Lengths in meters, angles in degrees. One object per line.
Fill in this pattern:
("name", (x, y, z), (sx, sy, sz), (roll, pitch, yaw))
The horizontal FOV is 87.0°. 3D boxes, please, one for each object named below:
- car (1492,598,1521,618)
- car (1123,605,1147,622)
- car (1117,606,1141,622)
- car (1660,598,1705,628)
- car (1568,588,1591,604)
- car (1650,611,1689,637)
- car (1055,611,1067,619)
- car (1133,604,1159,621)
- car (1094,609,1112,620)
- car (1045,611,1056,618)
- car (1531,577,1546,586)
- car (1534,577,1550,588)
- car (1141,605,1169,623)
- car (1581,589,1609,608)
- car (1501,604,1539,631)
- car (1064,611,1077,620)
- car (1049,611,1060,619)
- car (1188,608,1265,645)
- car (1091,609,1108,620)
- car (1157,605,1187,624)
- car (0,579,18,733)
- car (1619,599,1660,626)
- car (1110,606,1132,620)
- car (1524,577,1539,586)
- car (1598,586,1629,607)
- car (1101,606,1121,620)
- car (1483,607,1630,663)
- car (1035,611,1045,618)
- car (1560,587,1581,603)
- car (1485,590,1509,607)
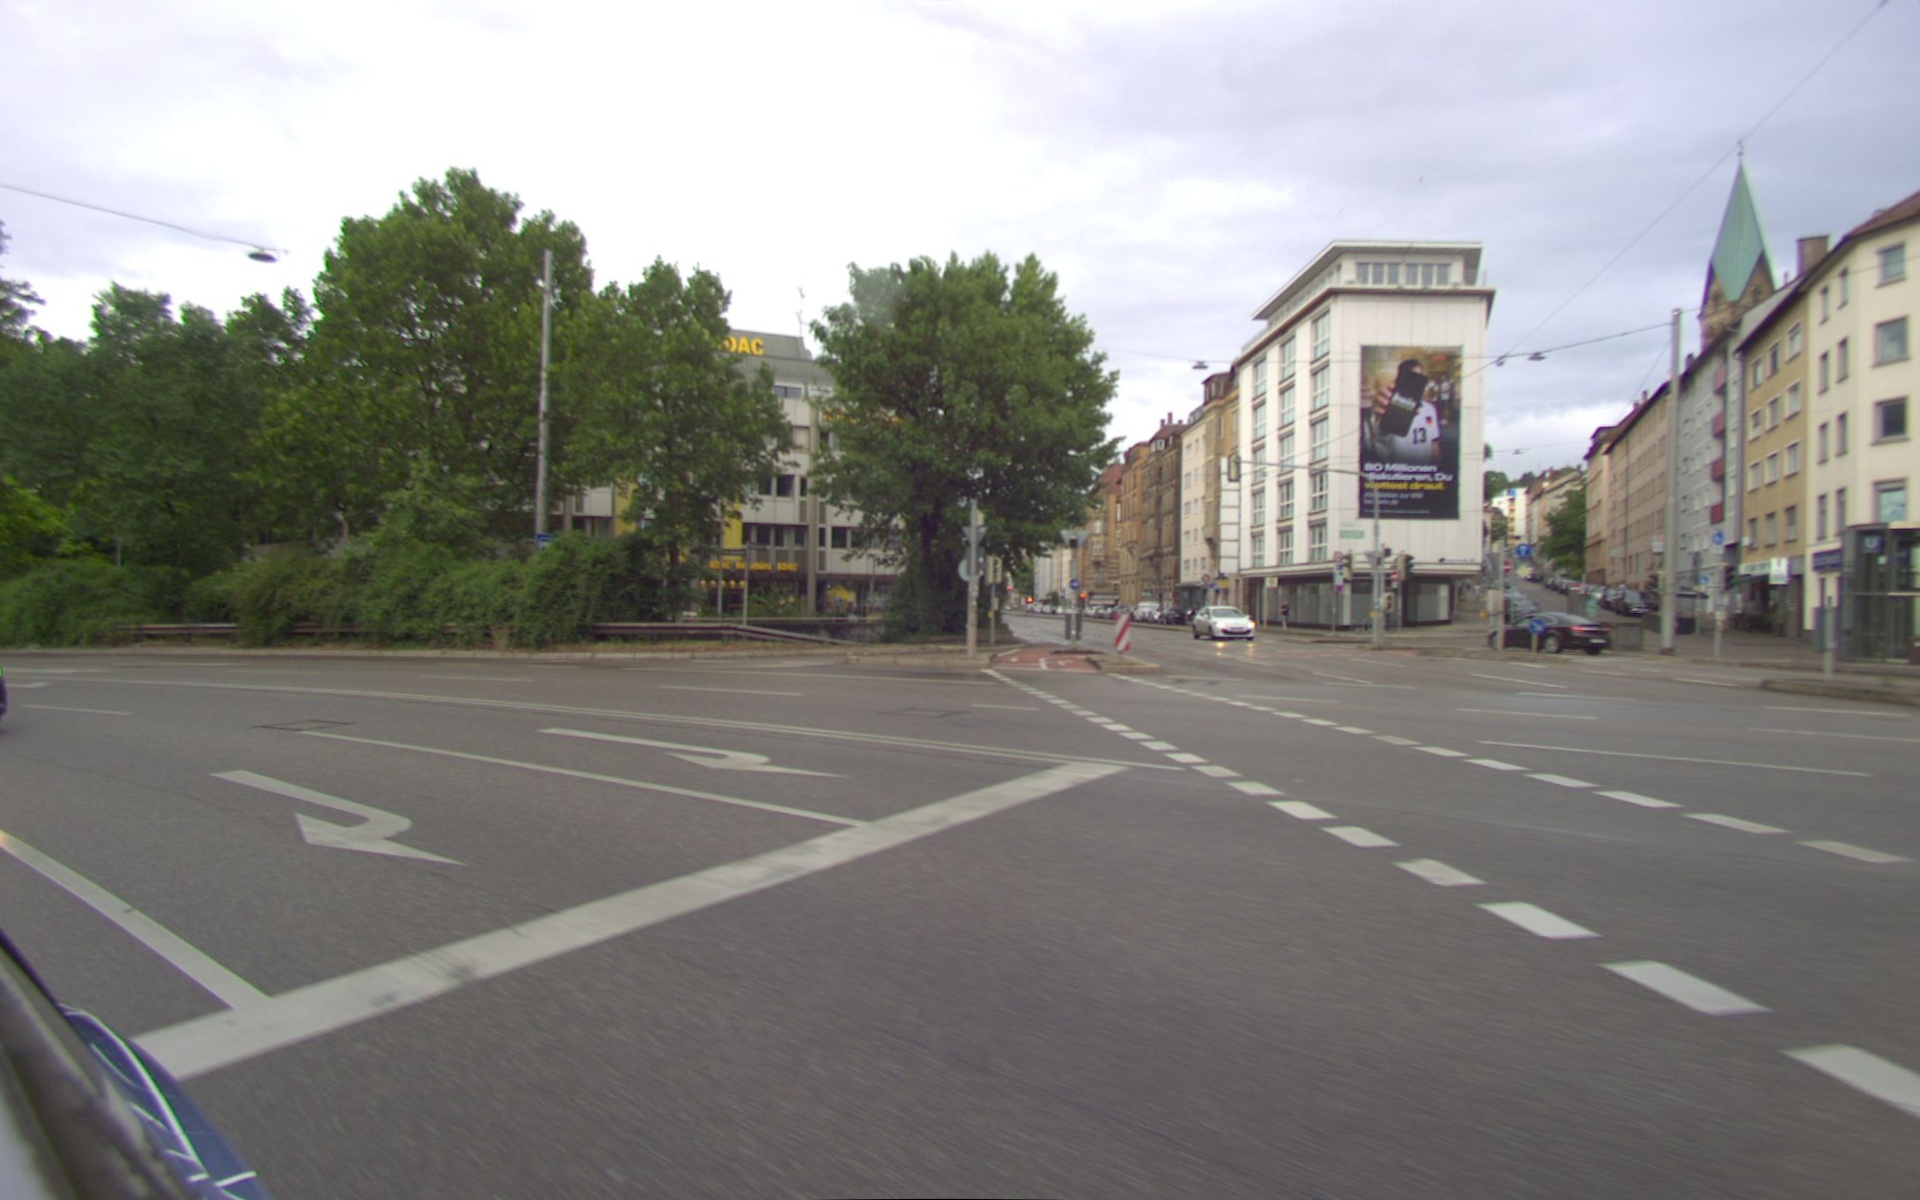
("car", (45.822, 0.699, 84.814), (1.912, 1.603, 3.957), (1, -1, 31))
("car", (17.875, 1.368, 103.531), (1.850, 1.589, 3.998), (1, -1, 1))
("car", (18.021, 1.469, 108.117), (1.850, 1.589, 3.998), (1, -1, 1))
("car", (40.840, 0.742, 57.251), (1.754, 1.603, 3.757), (1, -1, 31))
("car", (62.912, -0.450, 102.797), (1.912, 1.602, 3.958), (1, 1, 31))
("car", (36.554, 1.237, 52.204), (1.400, 1.239, 3.130), (1, -1, 31))
("car", (16.931, 2.563, 170.190), (1.757, 1.331, 3.675), (1, -1, 2))
("car", (17.995, 1.240, 98.227), (1.850, 1.589, 3.998), (1, -1, 1))
("car", (17.902, 1.791, 126.876), (1.757, 1.331, 3.675), (1, -1, 2))
("car", (16.489, 2.664, 185.243), (1.757, 1.331, 3.675), (1, -1, 2))
("car", (97.913, -3.138, 171.284), (1.908, 1.602, 3.965), (1, 1, 26))
("car", (92.666, -2.797, 161.064), (1.908, 1.602, 3.965), (1, 1, 26))
("car", (18.030, 1.271, 93.490), (1.850, 1.589, 3.998), (1, -1, 1))
("car", (54.293, -0.147, 86.528), (1.912, 1.602, 3.958), (1, 1, 31))
("car", (34.647, 1.071, 62.578), (1.912, 1.603, 3.957), (1, -1, 31))
("car", (17.302, 2.430, 159.123), (1.757, 1.331, 3.675), (1, -1, 2))
("car", (16.745, 2.615, 178.922), (1.757, 1.331, 3.675), (1, -1, 2))
("car", (11.213, 1.076, 42.879), (1.972, 1.462, 4.230), (1, -1, -2))
("car", (18.095, 1.840, 131.689), (1.757, 1.331, 3.675), (1, -1, 2))
("car", (18.404, 1.224, 87.991), (1.850, 1.589, 3.998), (1, -1, 1))
("car", (-13.416, 0.701, 12.195), (4.106, 1.813, 1.779), (-1, 1, 28))
("car", (42.711, 0.800, 63.713), (1.912, 1.603, 3.957), (1, -1, 31))
("car", (18.008, 1.450, 113.465), (1.850, 1.589, 3.998), (1, -1, 1))
("car", (99.377, -3.197, 176.007), (1.908, 1.602, 3.965), (1, 1, 26))
("car", (52.778, -0.317, 81.758), (1.912, 1.602, 3.958), (1, 1, 31))
("car", (17.834, 1.527, 119.643), (1.850, 1.589, 3.998), (1, -1, 1))
("car", (21.446, 1.215, 36.621), (1.966, 1.857, 4.452), (1, -1, -14))
("car", (16.082, 2.989, 203.093), (1.757, 1.331, 3.675), (1, -1, 2))
("car", (65.091, -0.532, 107.901), (1.912, 1.602, 3.958), (1, 1, 31))
("car", (54.420, -0.162, 102.523), (1.912, 1.603, 3.957), (1, -1, 31))
